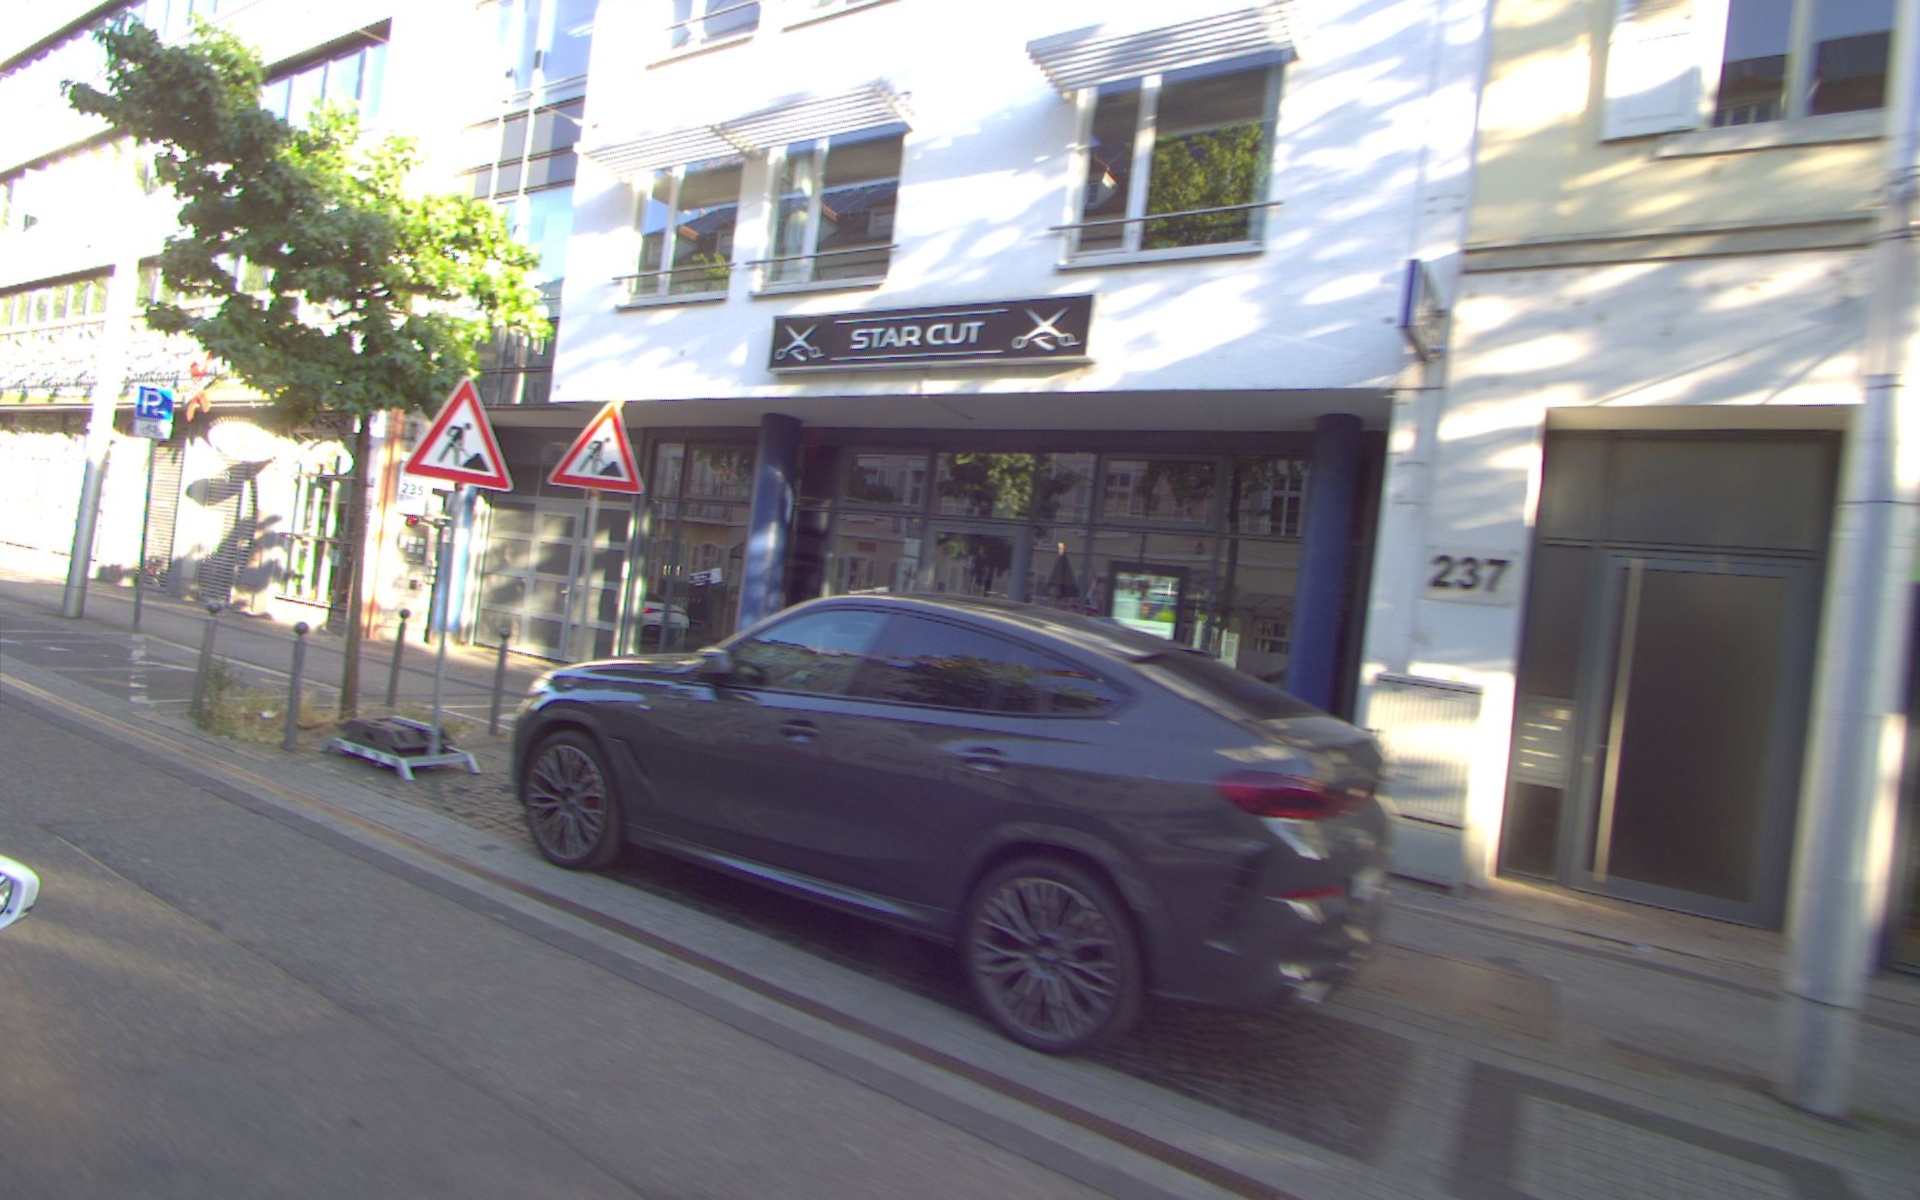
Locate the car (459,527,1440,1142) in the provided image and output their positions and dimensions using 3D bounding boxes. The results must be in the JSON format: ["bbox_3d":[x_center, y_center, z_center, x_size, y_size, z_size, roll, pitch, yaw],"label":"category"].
[{"bbox_3d":[-0.254,0.763,5.391,4.785,1.733,1.997,7,-1,32],"label":"car"}]
